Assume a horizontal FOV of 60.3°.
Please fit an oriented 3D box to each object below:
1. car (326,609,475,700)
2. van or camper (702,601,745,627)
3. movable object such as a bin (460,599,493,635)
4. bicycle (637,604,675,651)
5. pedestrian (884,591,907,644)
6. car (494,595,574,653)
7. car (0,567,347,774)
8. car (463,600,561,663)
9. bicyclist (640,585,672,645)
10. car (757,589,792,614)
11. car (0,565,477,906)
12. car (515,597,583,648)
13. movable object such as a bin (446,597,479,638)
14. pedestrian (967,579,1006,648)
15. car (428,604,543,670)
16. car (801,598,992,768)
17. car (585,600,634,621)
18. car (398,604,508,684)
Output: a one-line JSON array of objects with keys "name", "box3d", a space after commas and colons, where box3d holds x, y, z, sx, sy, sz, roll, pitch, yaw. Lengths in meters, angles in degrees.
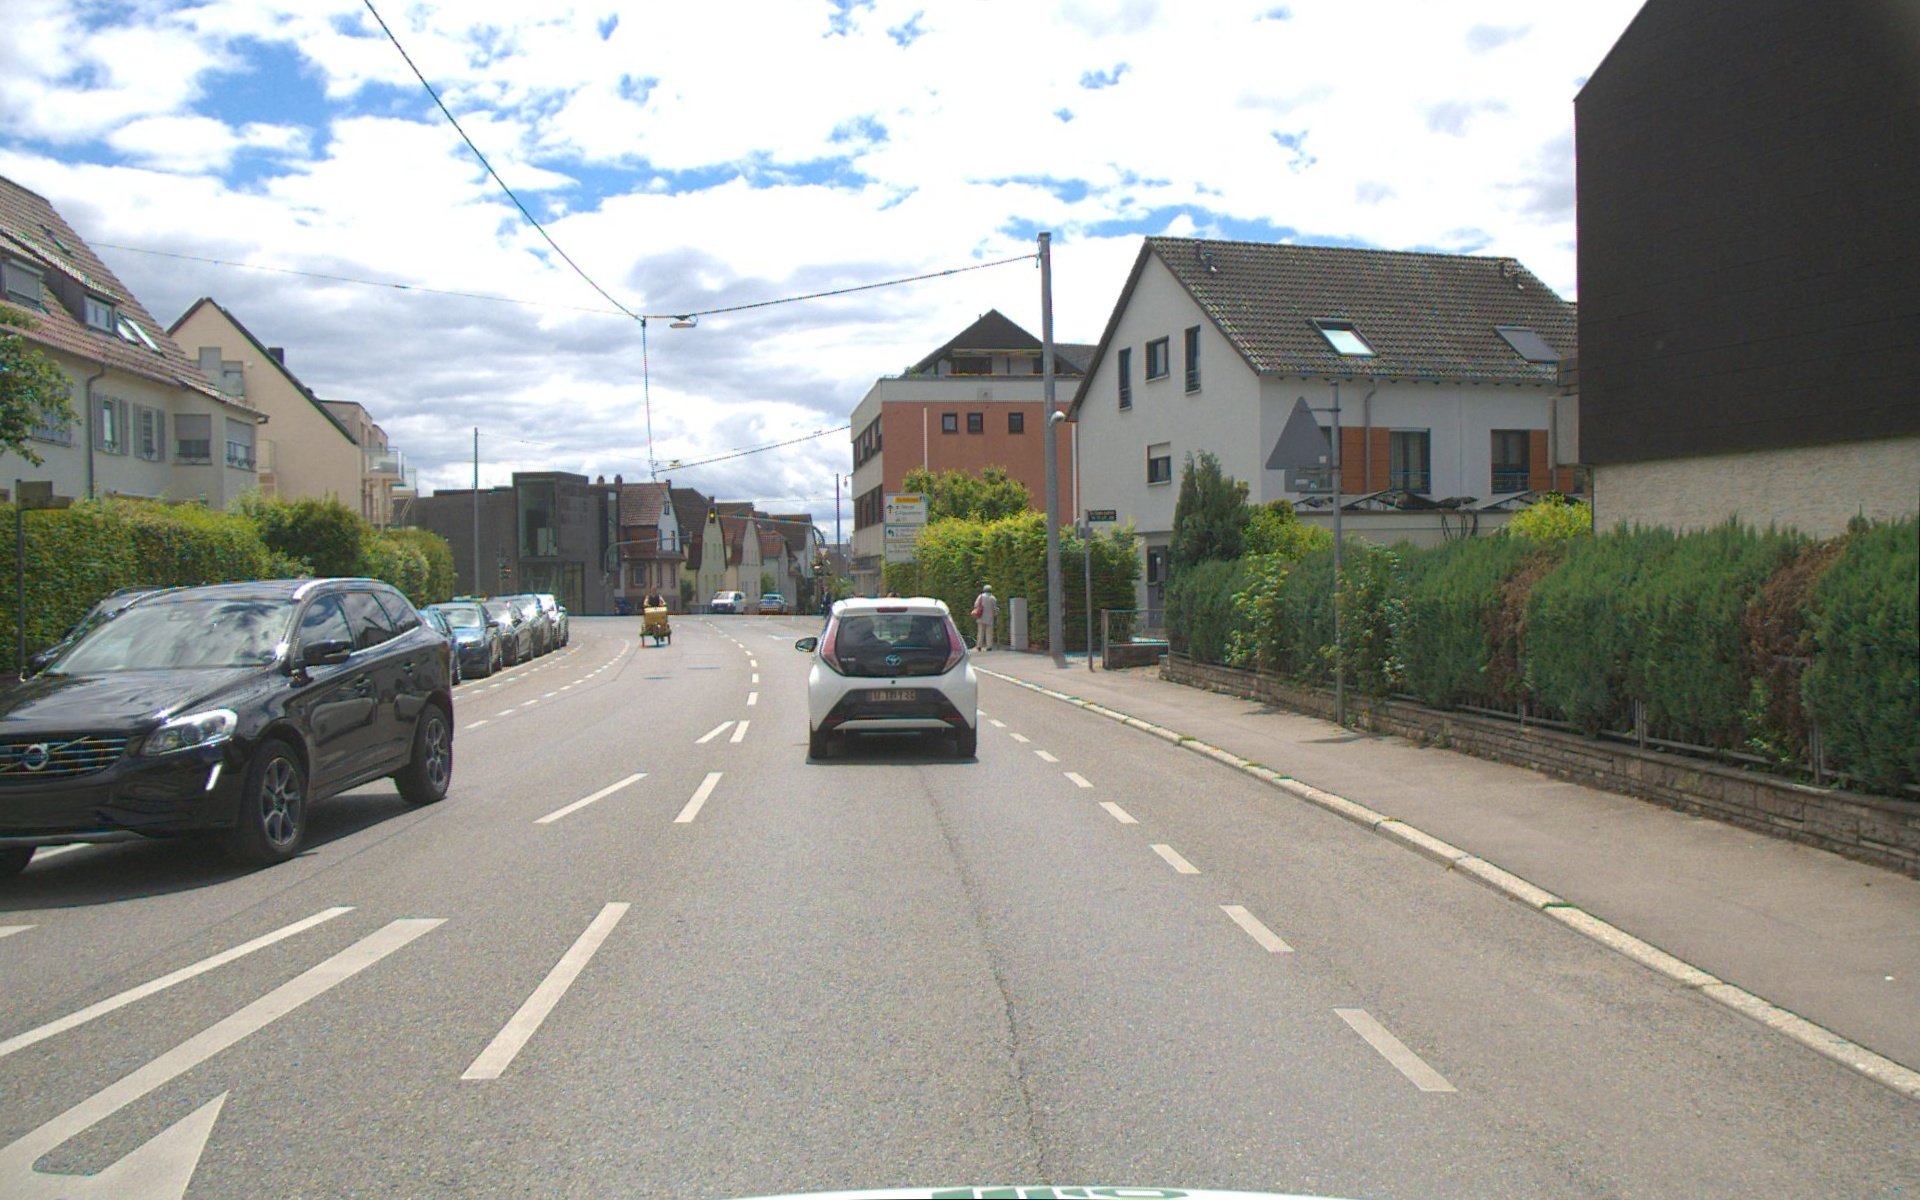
[{"name": "car", "box3d": [-9.965, 0.914, 29.754, 1.745, 1.442, 4.431, -1, 0, -9]}, {"name": "van or camper", "box3d": [-18.388, 1.095, 129.002, 2.071, 1.959, 5.288, 1, 0, 6]}, {"name": "movable object such as a bin", "box3d": [-18.698, 0.652, 63.987, 1.045, 1.336, 1.212, -1, 0, -8]}, {"name": "bicycle", "box3d": [-9.062, 0.790, 49.409, 0.847, 1.324, 2.658, -1, 0, -5]}, {"name": "pedestrian", "box3d": [-2.051, 0.552, 52.536, 0.591, 1.633, 0.835, -3, 0, -8]}, {"name": "car", "box3d": [-13.074, 0.708, 50.982, 1.957, 1.679, 4.507, -1, 0, -9]}, {"name": "car", "box3d": [-8.793, 0.681, 18.971, 1.956, 1.928, 5.396, -3, 0, -6]}, {"name": "car", "box3d": [-12.340, 0.824, 45.840, 1.956, 1.591, 4.682, -1, 0, -7]}, {"name": "bicyclist", "box3d": [-9.078, 0.434, 49.404, 0.777, 1.743, 1.207, -1, 0, -5]}, {"name": "car", "box3d": [-14.386, 0.133, 128.391, 1.951, 1.937, 4.002, 1, 0, 5]}, {"name": "car", "box3d": [-4.798, 0.725, 10.748, 1.877, 1.677, 4.294, -5, 0, 1]}, {"name": "car", "box3d": [-13.911, 0.718, 56.144, 1.958, 1.615, 4.477, -1, 0, -11]}, {"name": "movable object such as a bin", "box3d": [-18.829, 0.656, 62.646, 1.046, 1.508, 1.211, -1, 0, -11]}, {"name": "pedestrian", "box3d": [0.642, 0.327, 40.157, 0.784, 1.645, 0.652, -2, 0, -8]}, {"name": "car", "box3d": [-11.464, 0.851, 40.256, 1.956, 1.433, 4.682, -1, 0, -7]}, {"name": "car", "box3d": [-0.620, 0.741, 16.237, 1.663, 1.482, 3.297, 1, 0, -2]}, {"name": "car", "box3d": [-28.036, 0.817, 132.434, 3.539, 1.633, 1.692, 1, 0, 2]}, {"name": "car", "box3d": [-10.563, 0.858, 34.740, 1.746, 1.517, 4.553, -1, 0, -12]}]
